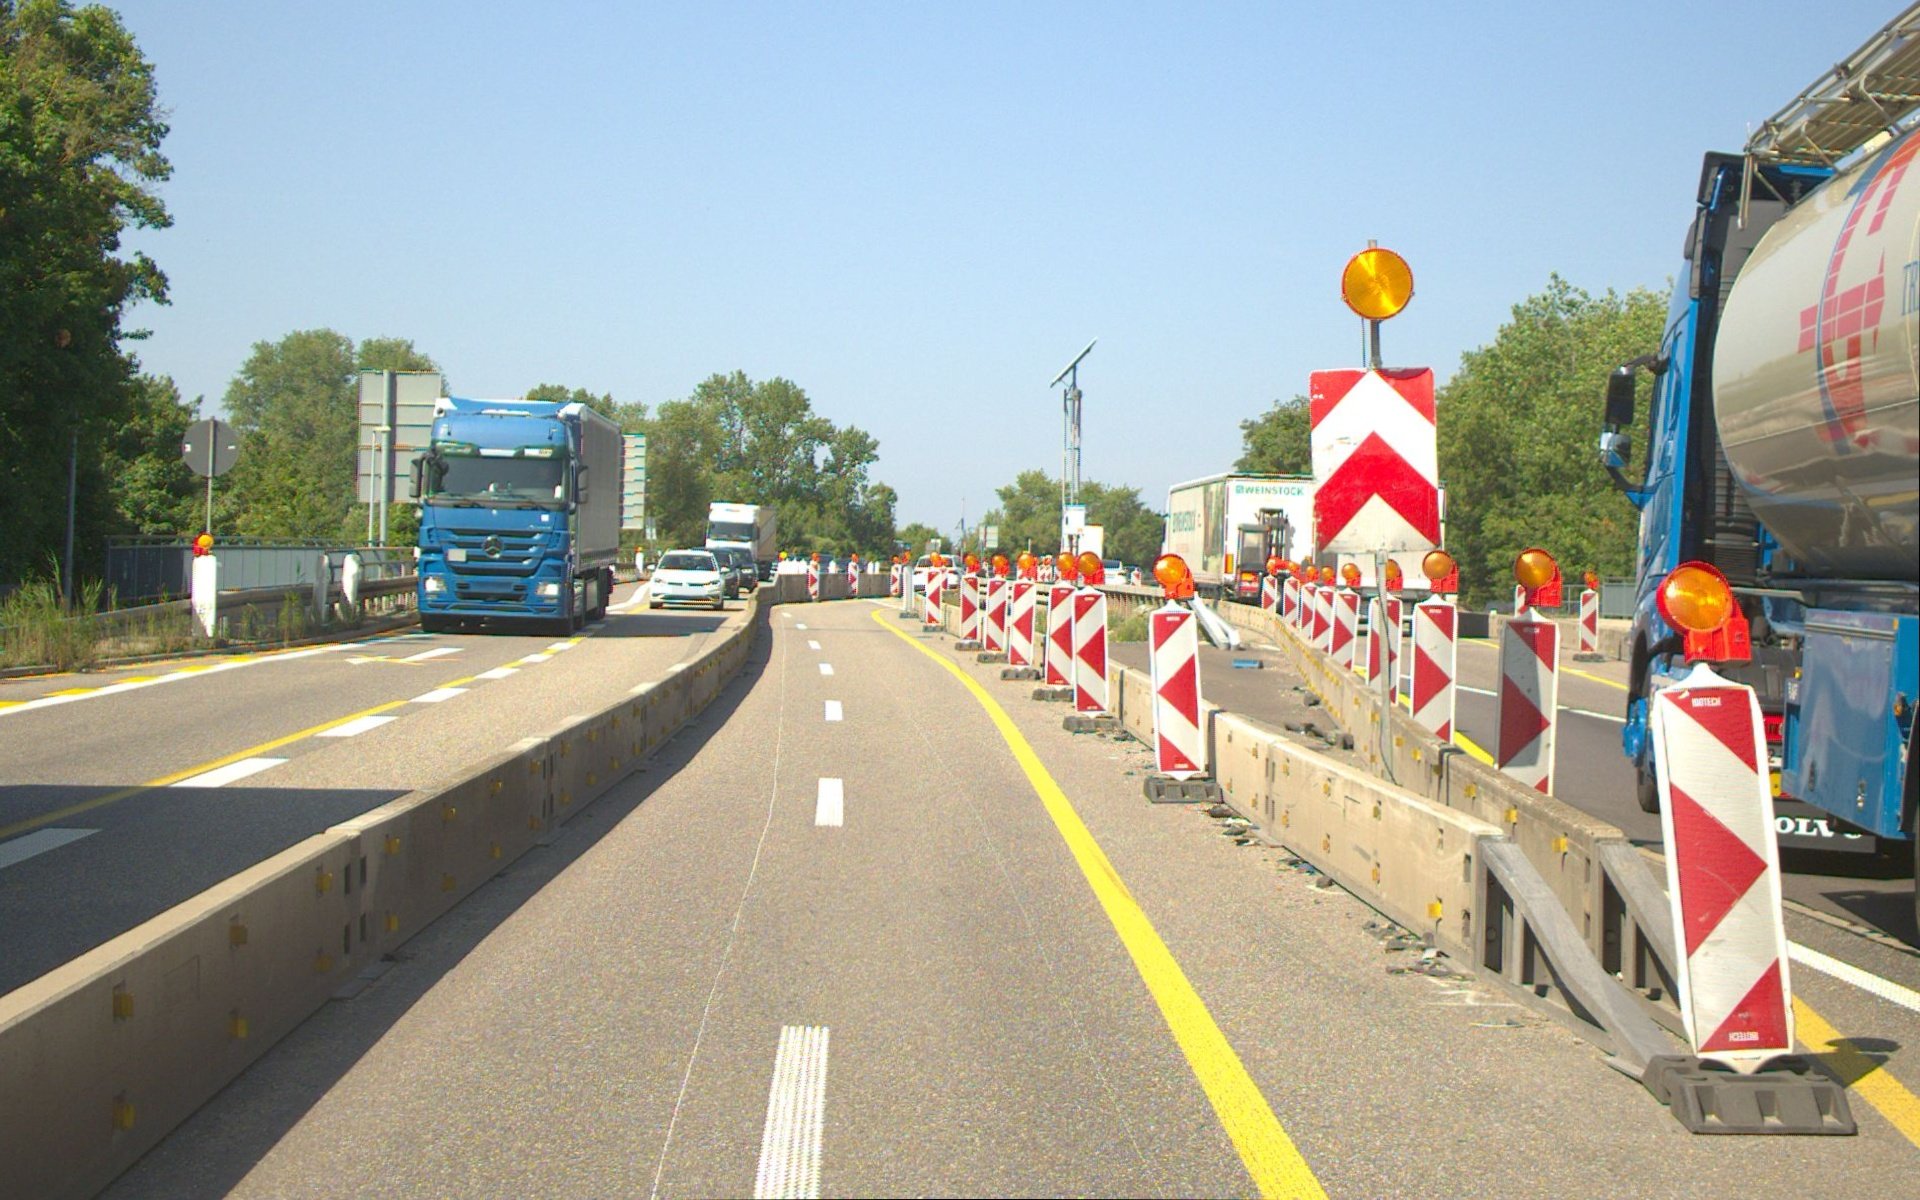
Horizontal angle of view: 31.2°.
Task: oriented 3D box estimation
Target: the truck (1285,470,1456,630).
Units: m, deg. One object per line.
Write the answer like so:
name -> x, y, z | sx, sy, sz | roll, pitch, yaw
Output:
truck -> 9.101, -1.133, 76.964 | 2.634, 3.416, 7.234 | 0, 1, -3

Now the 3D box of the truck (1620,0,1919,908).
truck -> 5.339, -0.695, 18.827 | 2.695, 4.088, 7.299 | 1, 1, 6

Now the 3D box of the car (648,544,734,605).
car -> -6.593, -0.638, 84.661 | 1.814, 1.412, 4.153 | 1, 1, -1

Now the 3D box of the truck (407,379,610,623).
truck -> -7.732, -1.684, 59.540 | 2.814, 3.976, 5.986 | 1, 1, -1

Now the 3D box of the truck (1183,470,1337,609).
truck -> 8.478, -1.689, 98.026 | 3.388, 3.761, 7.234 | 1, 1, -3

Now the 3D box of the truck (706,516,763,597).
truck -> -11.710, -2.245, 178.914 | 2.749, 4.122, 6.416 | 1, 1, -2

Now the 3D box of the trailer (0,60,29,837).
trailer -> -6.325, -0.745, 11.687 | 2.620, 4.113, 14.068 | 1, 1, -1

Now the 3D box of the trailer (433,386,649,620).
trailer -> -7.901, -1.812, 66.609 | 2.803, 4.029, 13.469 | 1, 1, -1

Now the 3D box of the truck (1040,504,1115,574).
truck -> 7.381, -3.807, 217.380 | 4.220, 4.252, 10.241 | 1, 1, -1

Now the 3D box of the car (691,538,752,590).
car -> -7.431, -1.144, 107.457 | 1.738, 1.546, 3.943 | 2, 1, -2

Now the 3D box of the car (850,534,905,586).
car -> -2.931, -1.417, 121.390 | 1.816, 1.770, 4.000 | 1, 1, -3

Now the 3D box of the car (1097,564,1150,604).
car -> 7.327, -0.723, 154.725 | 1.993, 1.770, 4.000 | 1, 1, -3

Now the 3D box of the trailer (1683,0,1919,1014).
trailer -> 4.727, -0.651, 12.581 | 2.694, 4.123, 12.612 | 1, 1, 6
